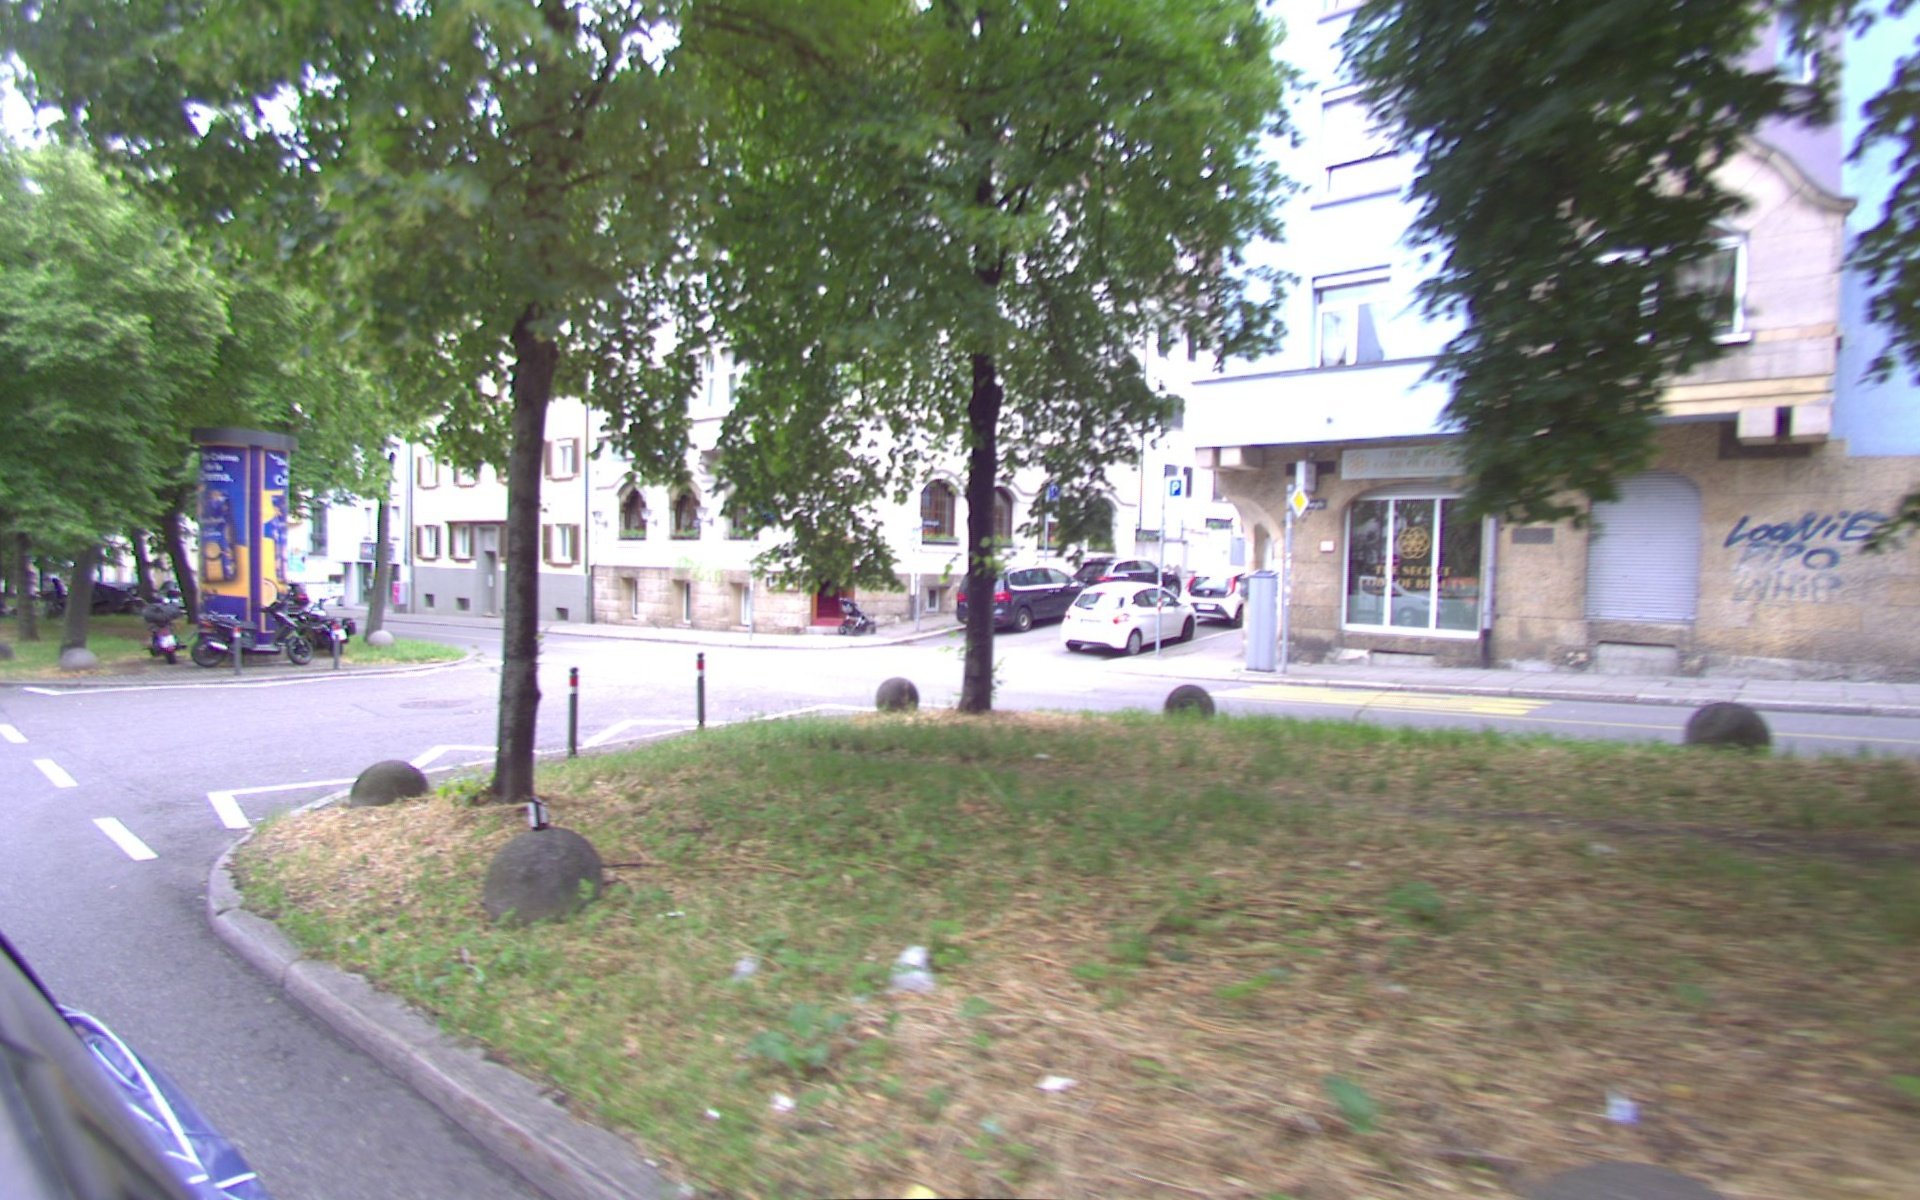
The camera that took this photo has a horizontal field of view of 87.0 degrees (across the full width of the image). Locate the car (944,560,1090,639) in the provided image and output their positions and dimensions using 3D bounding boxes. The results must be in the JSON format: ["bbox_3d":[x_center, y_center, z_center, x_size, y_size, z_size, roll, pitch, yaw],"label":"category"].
[{"bbox_3d":[1.622,-0.079,27.482,1.871,1.712,3.957,1,6,41],"label":"car"}]

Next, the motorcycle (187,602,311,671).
[{"bbox_3d":[-12.448,0.608,17.752,0.551,1.104,1.712,3,3,44],"label":"motorcycle"}]

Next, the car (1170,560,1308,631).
[{"bbox_3d":[7.508,-0.180,27.015,1.966,1.480,4.099,1,6,41],"label":"car"}]

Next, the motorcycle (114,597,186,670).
[{"bbox_3d":[-14.448,0.558,18.028,0.875,1.104,2.485,-1,3,-42],"label":"motorcycle"}]

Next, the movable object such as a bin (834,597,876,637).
[{"bbox_3d":[-2.778,0.443,26.741,0.668,1.001,0.877,1,3,40],"label":"movable object such as a bin"}]

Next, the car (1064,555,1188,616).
[{"bbox_3d":[5.175,-0.508,31.306,1.801,1.521,3.943,1,6,45],"label":"car"}]

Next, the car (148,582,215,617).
[{"bbox_3d":[-36.414,-0.038,47.285,4.254,1.575,1.794,0,1,43],"label":"car"}]

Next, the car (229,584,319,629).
[{"bbox_3d":[-25.500,0.199,37.568,4.416,1.575,1.794,0,1,43],"label":"car"}]

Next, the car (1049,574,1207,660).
[{"bbox_3d":[3.906,0.308,23.030,1.869,1.480,3.960,3,7,38],"label":"car"}]

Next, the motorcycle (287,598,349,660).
[{"bbox_3d":[-12.649,0.547,19.914,0.740,1.081,1.854,-1,3,-42],"label":"motorcycle"}]

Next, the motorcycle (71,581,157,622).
[{"bbox_3d":[-32.564,0.080,38.982,0.963,1.494,2.392,3,2,41],"label":"motorcycle"}]
